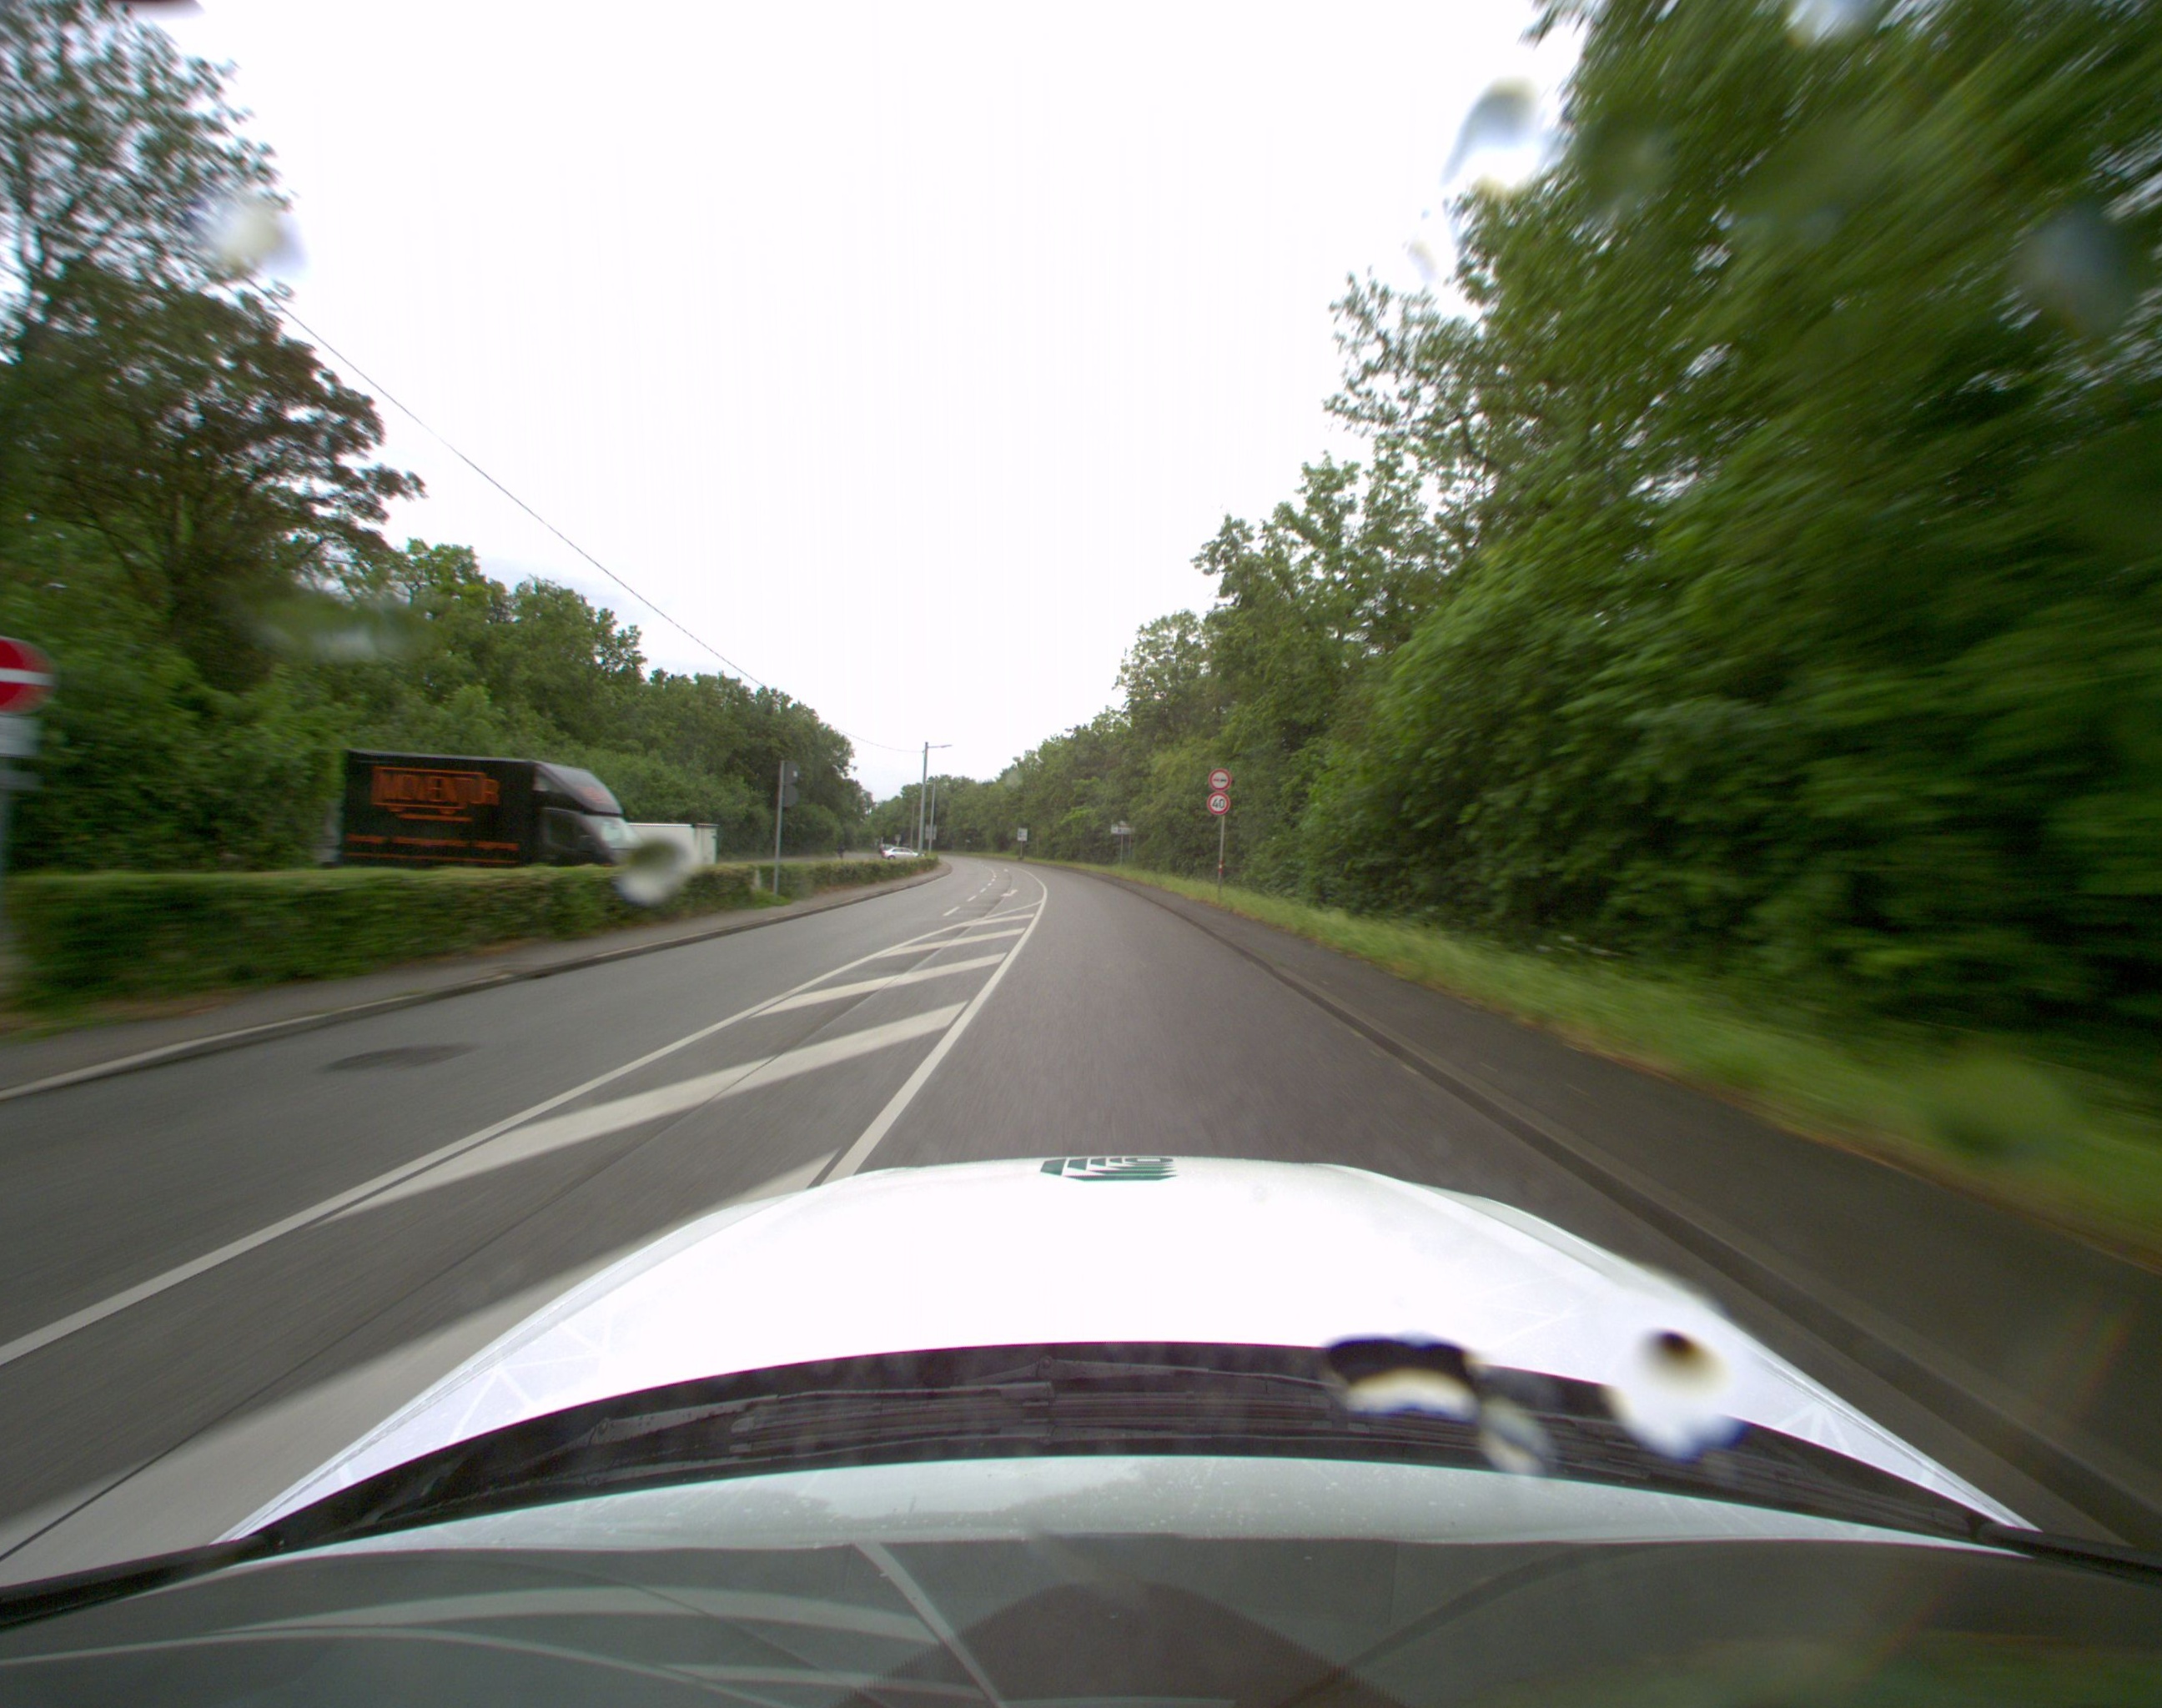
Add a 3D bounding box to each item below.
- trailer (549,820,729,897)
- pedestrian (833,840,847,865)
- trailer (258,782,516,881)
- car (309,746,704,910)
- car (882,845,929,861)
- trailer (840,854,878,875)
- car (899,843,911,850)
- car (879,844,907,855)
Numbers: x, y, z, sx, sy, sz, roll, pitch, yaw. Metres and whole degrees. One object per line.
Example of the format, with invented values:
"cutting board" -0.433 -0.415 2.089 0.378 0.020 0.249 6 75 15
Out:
"trailer" -12.324 0.124 22.900 3.977 2.053 1.871 1 0 -2
"pedestrian" -18.032 -0.129 60.941 0.817 1.797 1.132 1 0 -9
"trailer" -22.994 -0.650 27.749 2.472 2.873 7.963 0 0 -5
"car" -11.912 -0.462 17.480 6.262 3.113 2.747 1 -1 -5
"car" -18.257 -0.104 84.573 4.586 1.506 1.989 1 0 -17
"trailer" -11.873 0.548 43.601 1.800 1.034 1.330 1 0 -9
"car" -39.660 -1.654 183.317 1.943 1.498 4.286 1 1 -22
"car" -29.802 -0.740 129.242 4.297 1.708 1.991 2 0 -14
